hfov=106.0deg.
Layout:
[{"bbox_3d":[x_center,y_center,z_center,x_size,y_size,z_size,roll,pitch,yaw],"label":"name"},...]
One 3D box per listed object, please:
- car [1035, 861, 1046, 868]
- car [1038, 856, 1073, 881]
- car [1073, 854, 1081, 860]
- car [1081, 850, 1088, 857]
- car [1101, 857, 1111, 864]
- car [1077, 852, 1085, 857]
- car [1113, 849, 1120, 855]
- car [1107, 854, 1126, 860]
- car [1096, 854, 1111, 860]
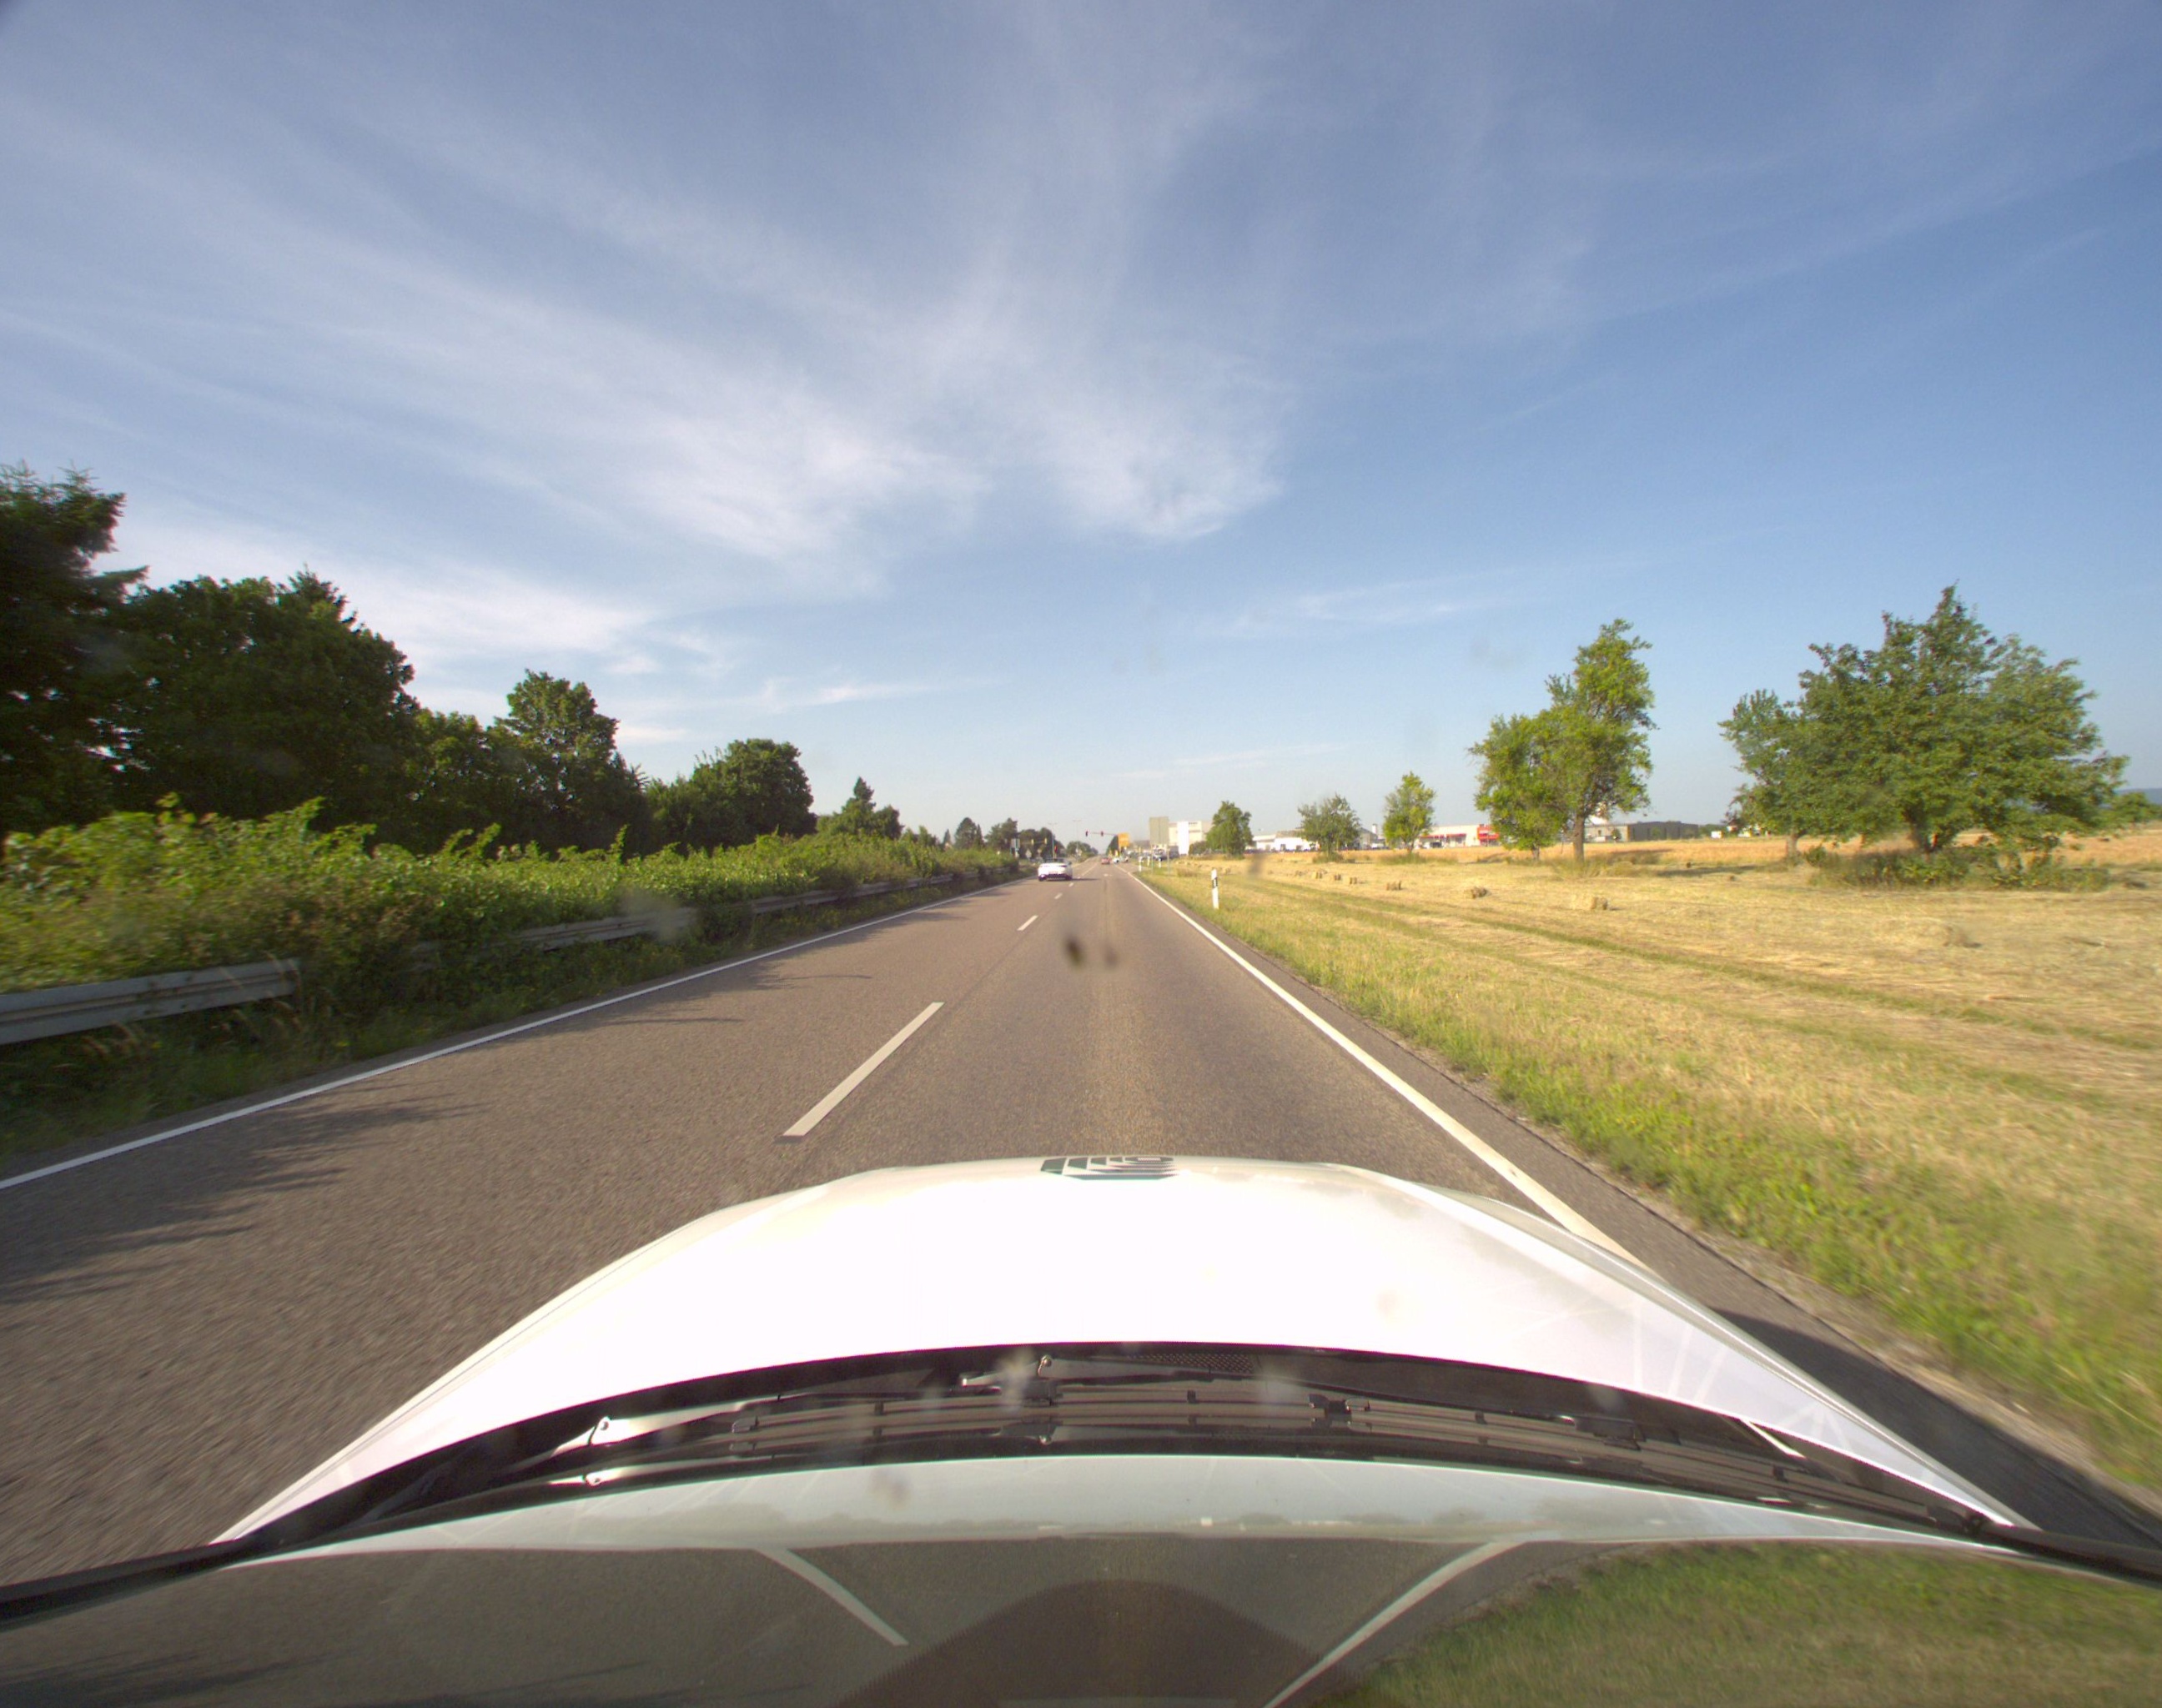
[{"bbox_3d":[-8.153,2.067,164.788,1.722,1.408,4.002,-1,0,2],"label":"car"},{"bbox_3d":[-1.499,0.842,49.238,1.903,1.422,4.001,-1,0,1],"label":"car"},{"bbox_3d":[-0.948,0.826,196.430,1.940,1.408,4.002,-1,0,2],"label":"car"},{"bbox_3d":[0.940,-0.176,235.874,1.940,1.772,4.002,-1,0,2],"label":"car"},{"bbox_3d":[4.896,1.270,160.470,1.987,1.486,4.001,-1,0,1],"label":"car"},{"bbox_3d":[0.014,0.095,221.291,1.940,1.408,4.002,-1,0,2],"label":"car"},{"bbox_3d":[10.219,-0.625,235.080,1.985,1.757,4.003,-1,0,3],"label":"car"},{"bbox_3d":[8.107,0.650,185.161,3.998,1.408,1.942,-1,0,-19],"label":"car"},{"bbox_3d":[5.264,0.673,188.645,1.929,1.408,4.025,-1,0,29],"label":"car"}]
